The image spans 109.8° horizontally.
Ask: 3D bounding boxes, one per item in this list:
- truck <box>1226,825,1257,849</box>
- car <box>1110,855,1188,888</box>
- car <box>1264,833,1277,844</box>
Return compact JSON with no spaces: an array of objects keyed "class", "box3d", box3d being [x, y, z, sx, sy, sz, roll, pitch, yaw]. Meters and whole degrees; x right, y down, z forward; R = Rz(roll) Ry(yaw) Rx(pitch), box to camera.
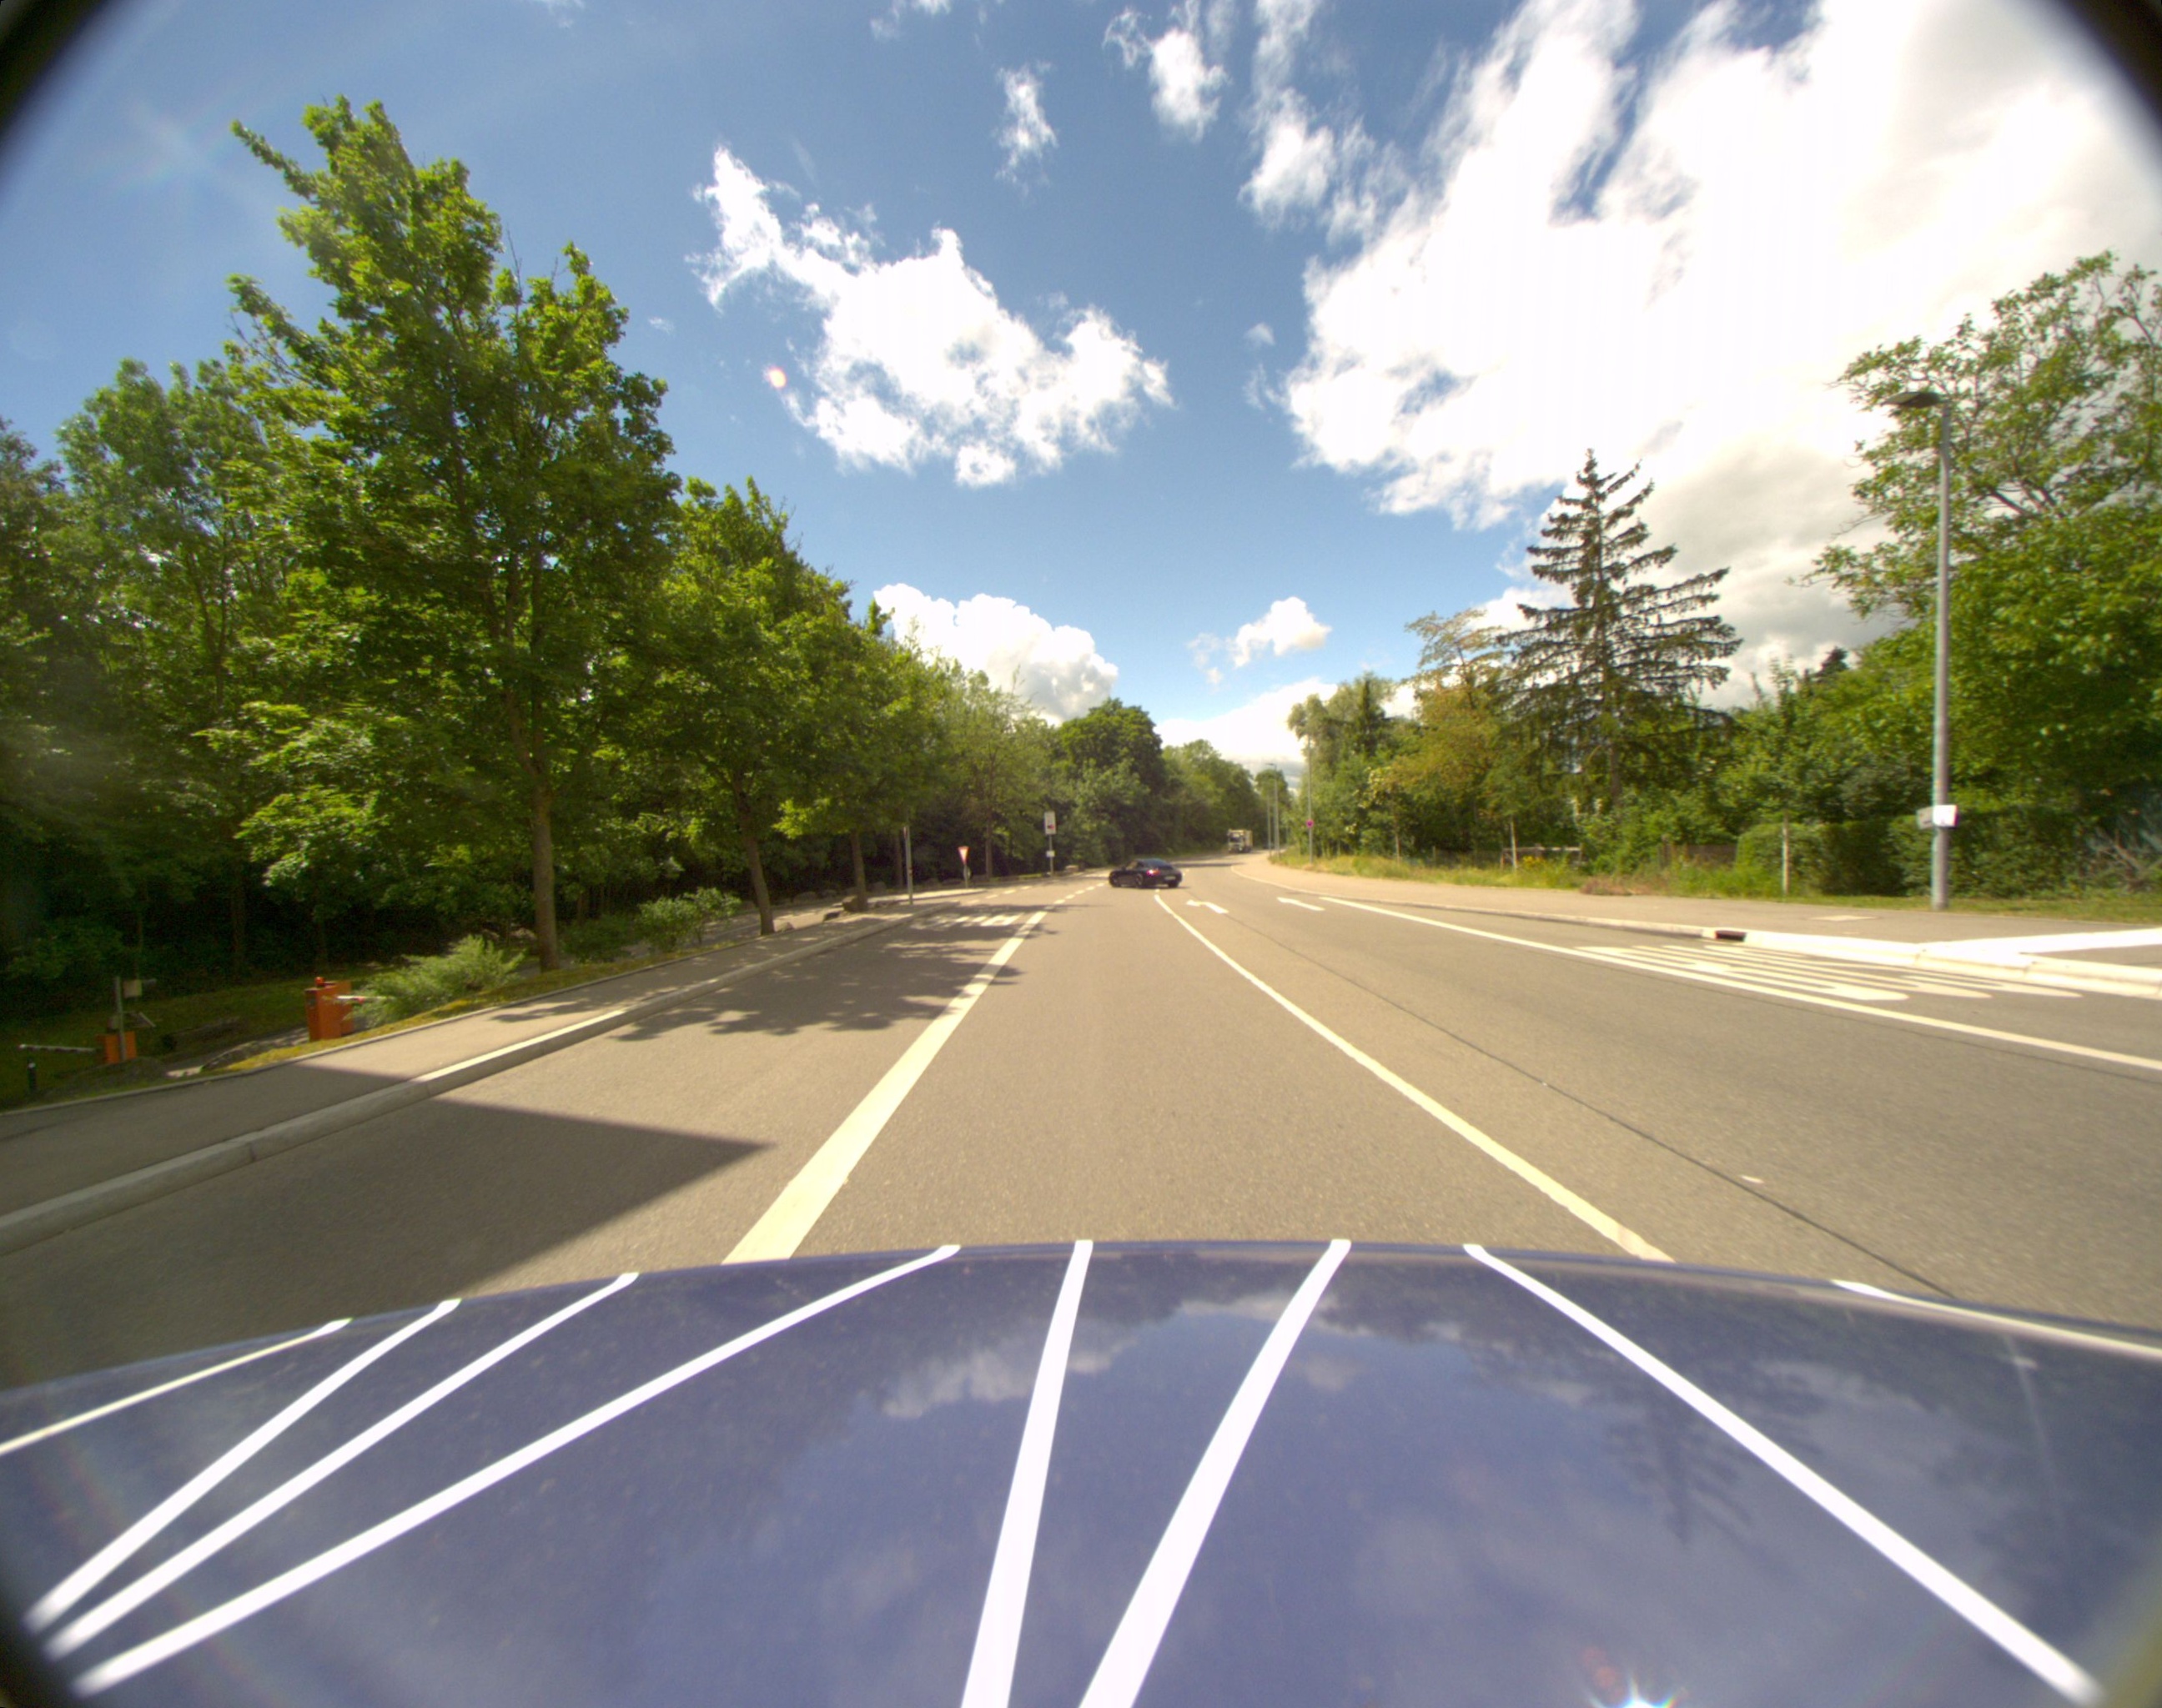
[{"class":"truck","box3d":[26.956,-2.935,127.110,3.235,3.839,9.887,0,2,23]},{"class":"car","box3d":[2.860,0.711,32.834,1.741,1.293,3.997,-2,1,-21]},{"class":"car","box3d":[38.548,-3.167,154.792,1.995,2.002,4.005,0,2,22]}]
